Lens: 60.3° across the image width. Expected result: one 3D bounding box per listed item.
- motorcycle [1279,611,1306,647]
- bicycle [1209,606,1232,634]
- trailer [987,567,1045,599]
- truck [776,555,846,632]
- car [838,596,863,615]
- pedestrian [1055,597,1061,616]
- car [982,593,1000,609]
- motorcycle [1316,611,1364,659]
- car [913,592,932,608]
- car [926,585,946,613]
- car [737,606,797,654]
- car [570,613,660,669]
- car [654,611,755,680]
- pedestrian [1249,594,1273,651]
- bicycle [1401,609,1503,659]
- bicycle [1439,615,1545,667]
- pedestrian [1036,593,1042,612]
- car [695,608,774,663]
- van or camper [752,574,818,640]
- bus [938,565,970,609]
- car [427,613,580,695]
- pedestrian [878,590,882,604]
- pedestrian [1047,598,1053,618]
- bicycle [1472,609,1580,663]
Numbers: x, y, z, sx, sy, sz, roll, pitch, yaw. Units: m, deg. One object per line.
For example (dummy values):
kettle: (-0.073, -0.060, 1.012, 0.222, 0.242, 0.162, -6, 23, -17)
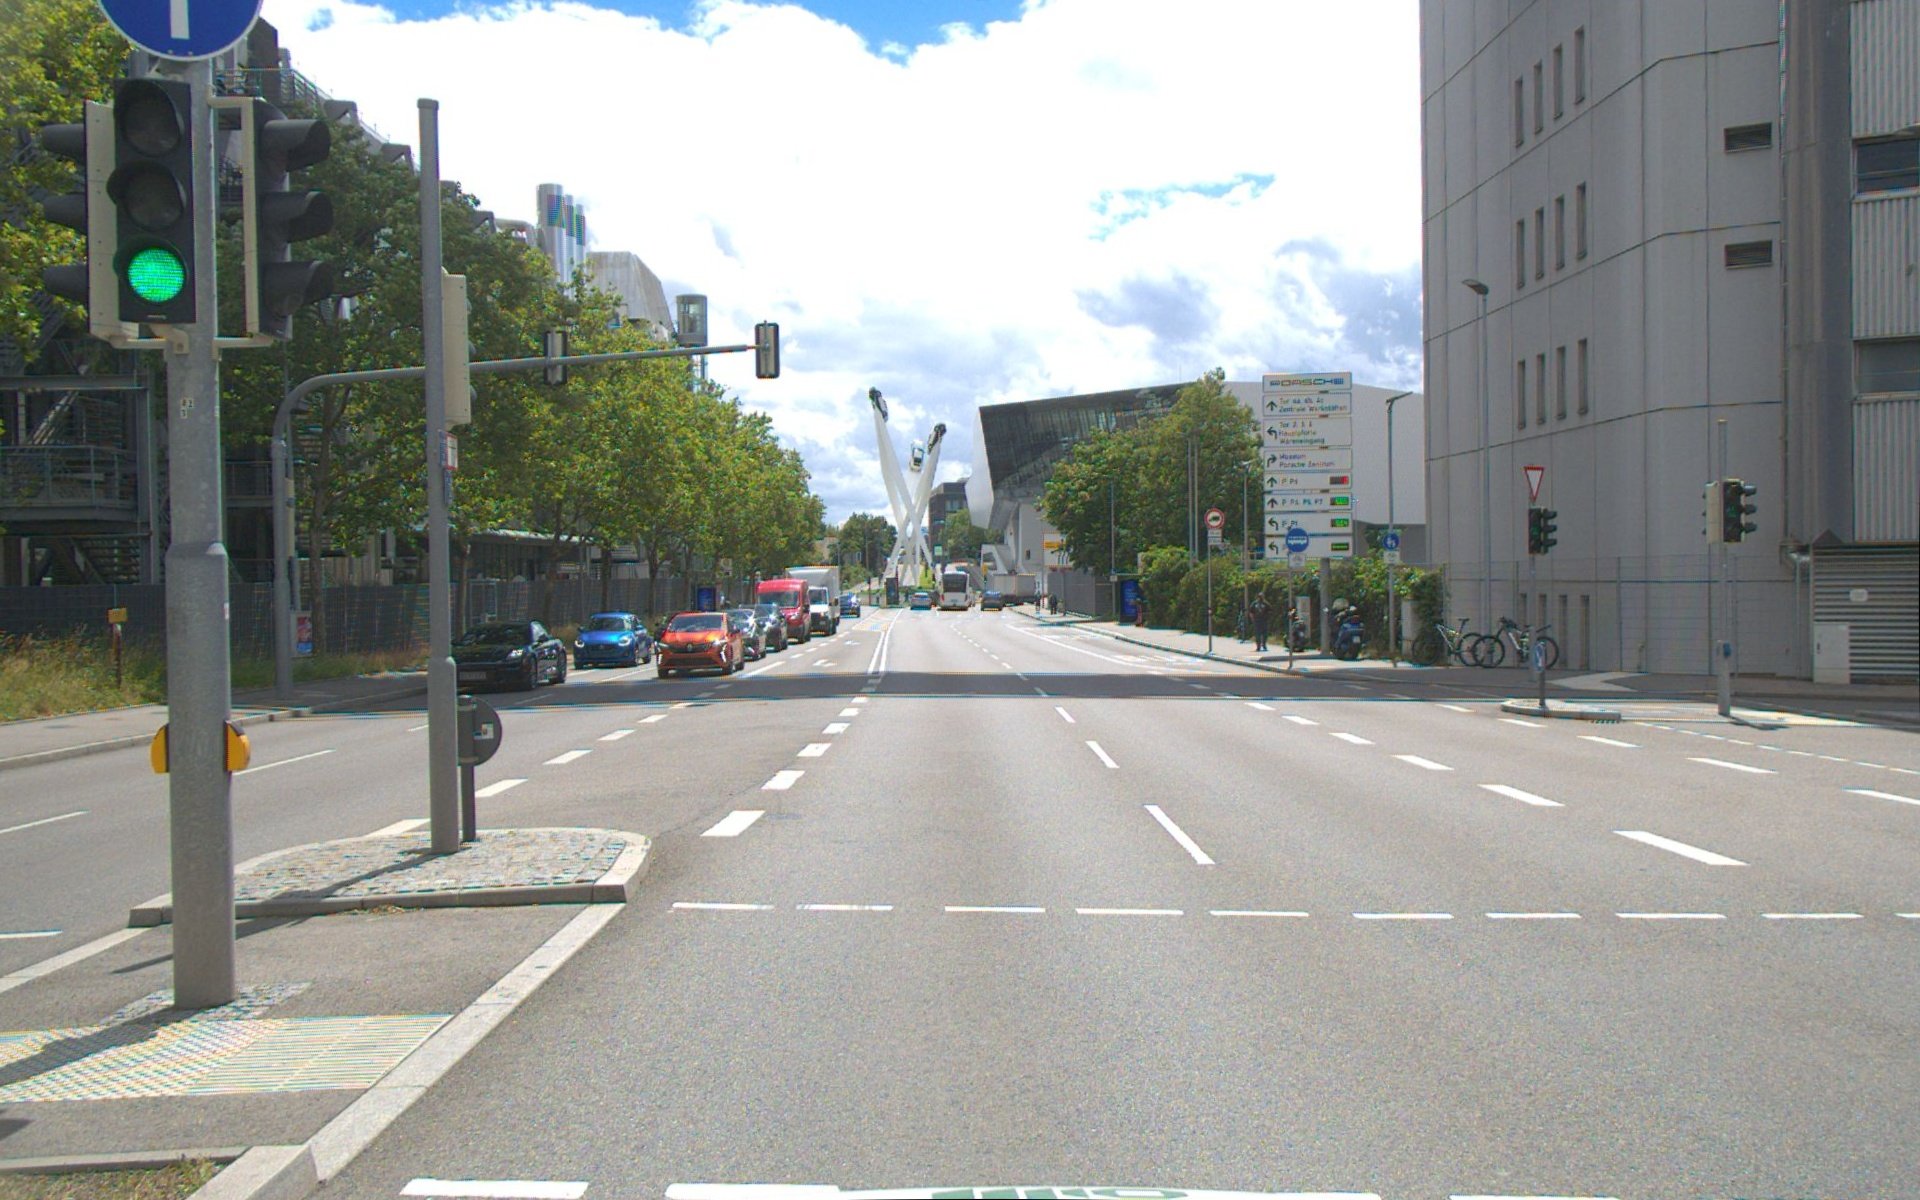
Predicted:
motorcycle: (9.832, 0.850, 48.924, 0.448, 1.040, 1.913, 1, -1, 1)
bicycle: (9.774, 0.753, 62.184, 0.410, 1.040, 1.910, 1, -1, -5)
trailer: (5.910, -1.708, 171.462, 3.250, 3.047, 10.380, 1, -1, 18)
truck: (-6.812, -0.234, 76.485, 2.538, 3.382, 7.078, 1, -1, 0)
car: (-7.827, 0.376, 118.324, 1.525, 1.295, 3.701, -2, 0, 0)
pedestrian: (7.257, 0.479, 122.790, 0.378, 1.446, 0.423, 1, -1, 0)
car: (2.690, 0.112, 144.256, 1.525, 1.295, 3.701, -2, 0, 1)
motorcycle: (9.634, 0.869, 41.936, 0.410, 1.186, 1.951, 1, -1, -11)
car: (-3.285, -0.010, 145.617, 1.525, 1.295, 3.701, -2, 0, 1)
car: (-2.343, -0.106, 163.851, 1.806, 2.670, 4.000, 1, -1, 1)
car: (-6.510, 0.997, 55.999, 1.525, 1.473, 3.772, -2, 0, 0)
car: (-9.693, 1.117, 46.718, 1.692, 1.406, 3.701, -2, 0, 0)
car: (-5.945, 1.027, 38.862, 1.733, 1.445, 3.701, -2, 0, 0)
pedestrian: (8.932, 0.665, 49.153, 0.523, 1.669, 0.657, 1, -1, -6)
bicycle: (11.235, 0.765, 37.807, 2.180, 1.106, 0.475, 0, -1, 35)
bicycle: (11.719, 0.896, 36.480, 2.180, 1.106, 0.475, 0, -1, 35)
pedestrian: (6.073, 0.209, 126.832, 0.378, 1.446, 0.423, 1, -1, 0)
car: (-6.516, 0.991, 48.044, 1.733, 1.445, 3.701, -2, 0, 0)
van or camper: (-6.923, 0.284, 65.911, 2.005, 2.510, 5.594, 0, 0, 0)
bus: (-0.540, -1.080, 147.218, 2.730, 3.750, 6.942, 1, -1, 0)
car: (-9.599, 1.084, 35.171, 1.878, 1.514, 4.771, -2, 0, 0)
pedestrian: (-8.478, -0.285, 176.120, 0.378, 1.446, 0.423, 1, -1, -3)
pedestrian: (6.678, 0.608, 122.784, 0.378, 1.446, 0.423, 1, -1, 0)
bicycle: (12.123, 0.757, 35.482, 2.149, 1.106, 0.475, 0, -1, 35)
